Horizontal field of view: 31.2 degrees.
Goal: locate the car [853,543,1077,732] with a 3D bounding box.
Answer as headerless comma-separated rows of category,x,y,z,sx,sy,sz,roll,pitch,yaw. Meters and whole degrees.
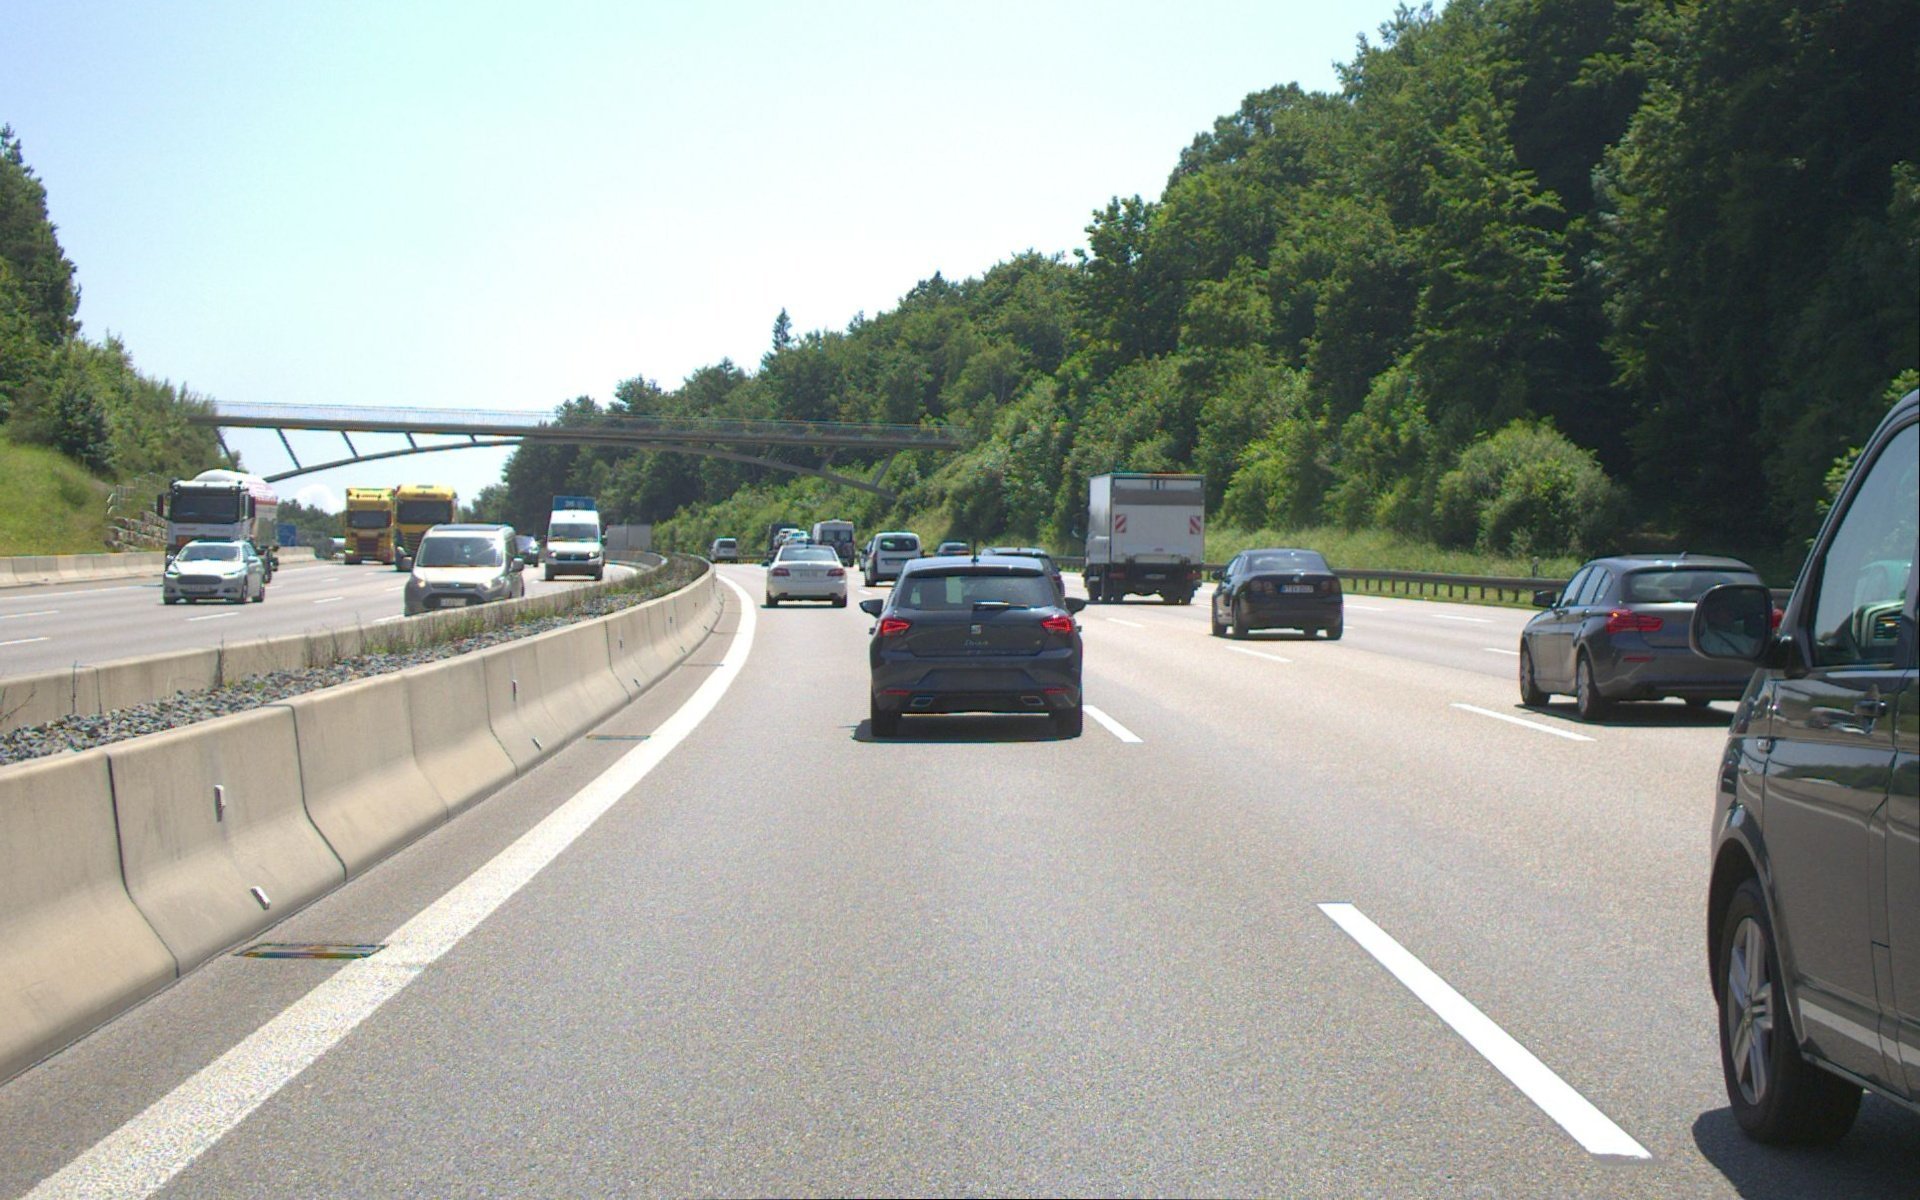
car,0.010,0.263,28.617,1.708,1.428,4.000,1,1,-1

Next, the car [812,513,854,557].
car,-6.983,-3.558,188.852,2.265,2.363,4.702,0,0,-2

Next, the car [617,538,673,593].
car,-12.617,-1.373,137.899,1.993,2.007,4.000,2,-1,-2

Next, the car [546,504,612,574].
car,-13.656,-2.189,123.372,2.154,2.481,4.703,0,1,-4

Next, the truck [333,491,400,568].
truck,-31.525,-3.750,182.801,2.750,4.004,6.753,0,1,-3

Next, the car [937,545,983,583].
car,-0.006,-1.802,173.116,2.145,1.851,4.000,1,0,-2

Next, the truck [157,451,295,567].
truck,-23.261,-2.827,109.447,2.609,3.454,9.883,2,1,-2

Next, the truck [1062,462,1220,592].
truck,4.546,-1.864,87.979,2.985,3.156,7.576,0,1,-5

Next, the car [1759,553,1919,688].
car,10.426,0.198,38.873,1.544,1.439,4.341,-1,0,-3

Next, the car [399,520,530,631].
car,-8.670,-0.451,60.458,1.818,1.865,4.589,0,1,-2

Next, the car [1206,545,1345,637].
car,5.072,-0.180,55.846,1.665,1.403,4.903,1,1,-2

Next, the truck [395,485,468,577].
truck,-23.140,-2.992,150.718,2.530,3.926,6.802,0,1,-4

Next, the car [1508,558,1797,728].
car,6.066,0.330,30.536,1.702,1.391,4.154,0,1,0

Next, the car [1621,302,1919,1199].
car,2.900,0.418,7.180,1.963,2.026,5.084,1,1,-1

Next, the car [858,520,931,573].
car,-2.219,-1.799,114.967,2.103,1.738,4.688,0,1,-5

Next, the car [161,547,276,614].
car,-17.240,-0.463,80.120,1.763,1.477,4.494,2,1,-1

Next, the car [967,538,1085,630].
car,1.262,-0.292,67.367,1.993,1.722,4.149,0,-1,-3

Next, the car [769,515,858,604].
car,-3.447,-0.917,80.519,2.012,1.839,4.000,1,-2,-3
